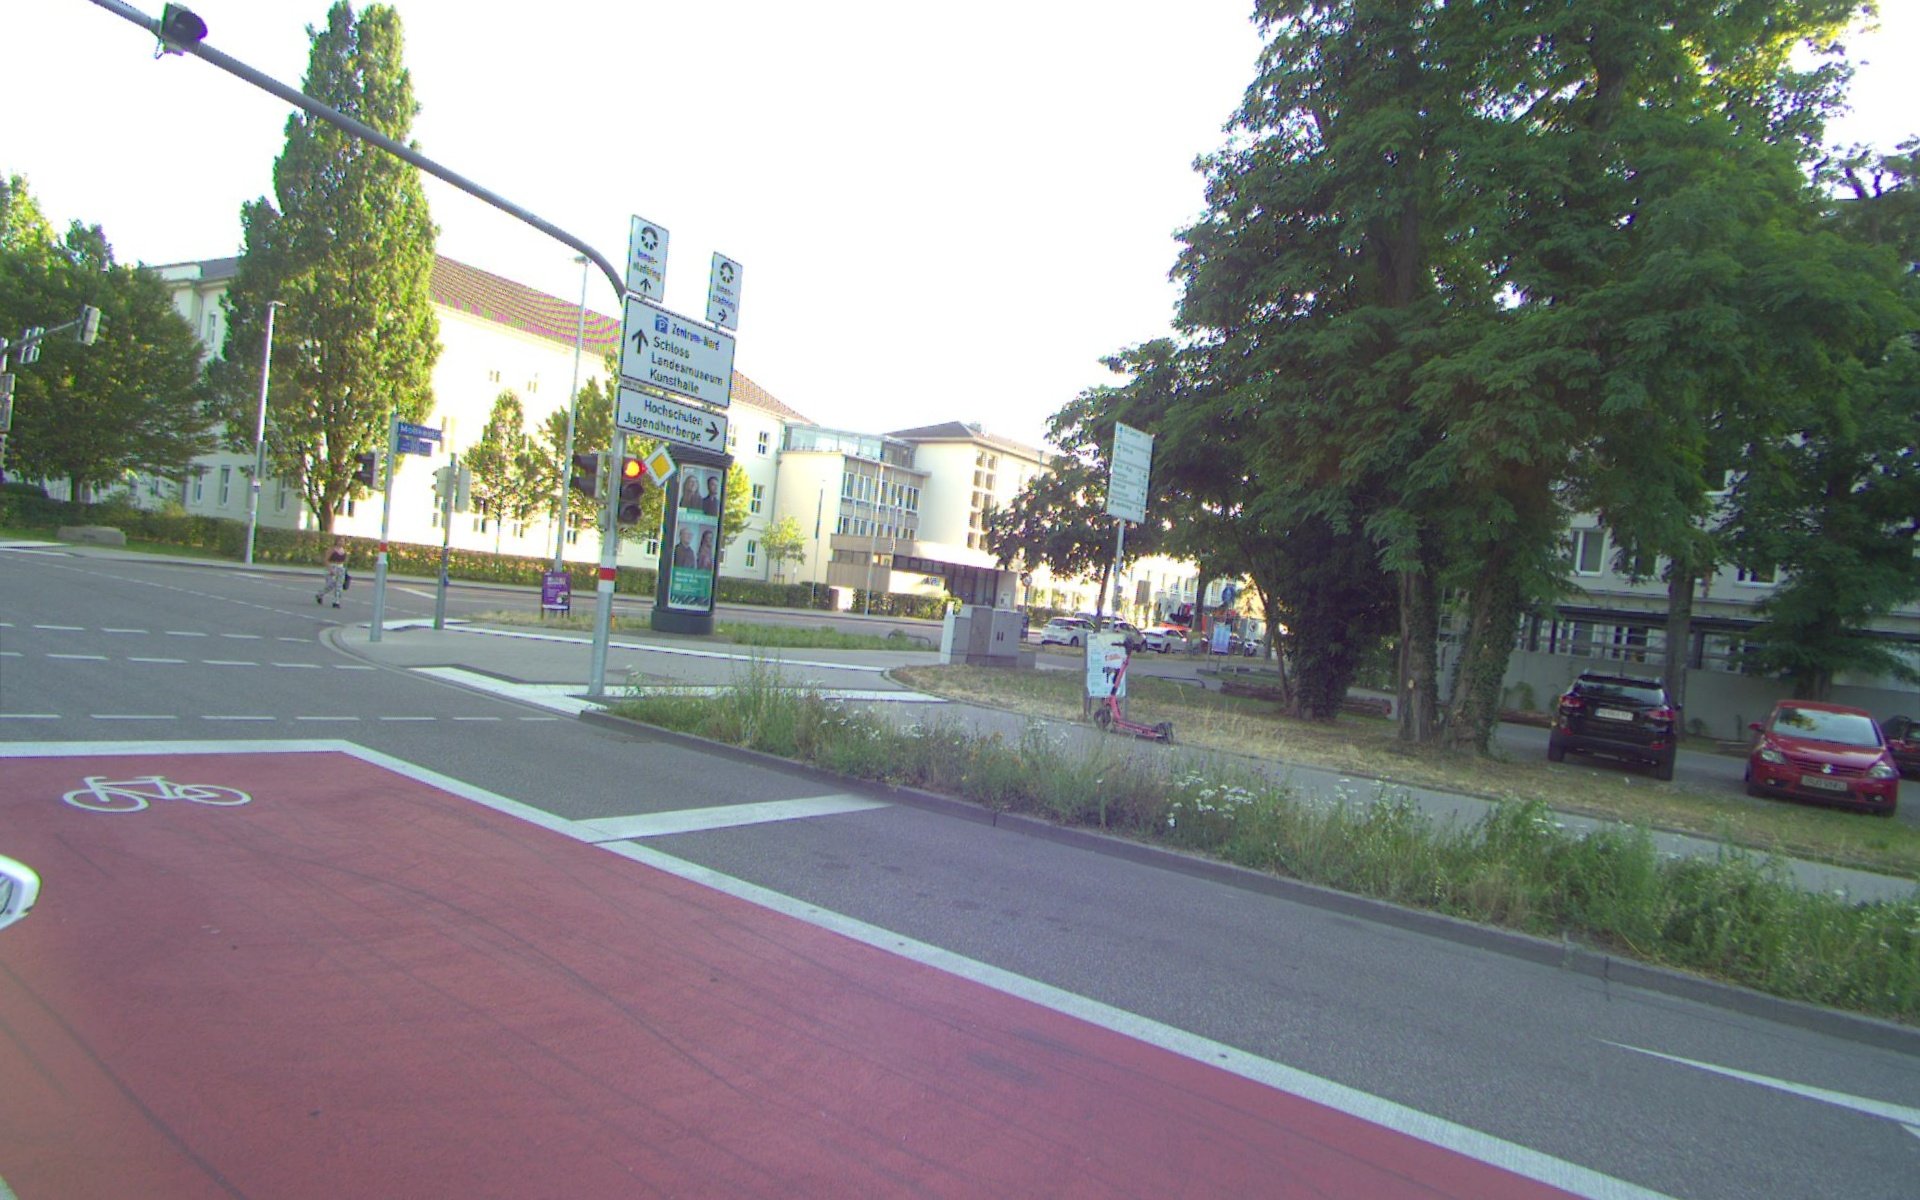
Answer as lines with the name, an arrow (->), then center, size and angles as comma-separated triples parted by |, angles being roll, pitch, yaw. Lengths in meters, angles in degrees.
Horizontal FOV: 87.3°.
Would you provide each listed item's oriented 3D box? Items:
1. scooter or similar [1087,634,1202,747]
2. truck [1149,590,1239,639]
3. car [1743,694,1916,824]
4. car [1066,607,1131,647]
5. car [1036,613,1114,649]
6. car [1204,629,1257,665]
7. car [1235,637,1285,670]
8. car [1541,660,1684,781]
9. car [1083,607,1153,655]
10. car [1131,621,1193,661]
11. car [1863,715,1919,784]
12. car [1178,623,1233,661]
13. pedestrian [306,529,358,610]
scooter or similar -> 2.331, 1.136, 12.805 | 1.289, 1.247, 0.311 | 7, 1, 32
truck -> 15.864, 1.061, 67.460 | 2.327, 2.315, 10.049 | 7, -1, 34
car -> 13.996, 2.453, 16.400 | 1.759, 1.581, 3.984 | 7, 0, 38
car -> 7.654, 1.497, 55.312 | 1.720, 1.783, 3.989 | 7, -1, 35
car -> 5.480, 1.492, 47.705 | 1.793, 1.358, 3.985 | 6, 0, 37
car -> 17.226, 3.032, 63.855 | 1.789, 1.893, 4.136 | 7, -1, 35
car -> 20.375, 3.657, 68.233 | 1.873, 1.831, 3.988 | 7, -1, 36
car -> 11.767, 2.110, 18.061 | 1.808, 1.715, 3.899 | 7, -1, 36
car -> 8.068, 1.585, 51.186 | 1.713, 2.038, 3.988 | 7, -1, 36
car -> 11.077, 2.269, 55.103 | 1.720, 1.783, 3.989 | 7, -1, 35
car -> 23.182, 3.620, 24.029 | 1.873, 1.459, 3.987 | 7, -1, 37
car -> 14.610, 2.496, 59.726 | 1.698, 1.879, 3.989 | 7, -1, 35
pedestrian -> -13.740, -0.661, 22.022 | 0.680, 1.656, 0.600 | 8, 1, 35
